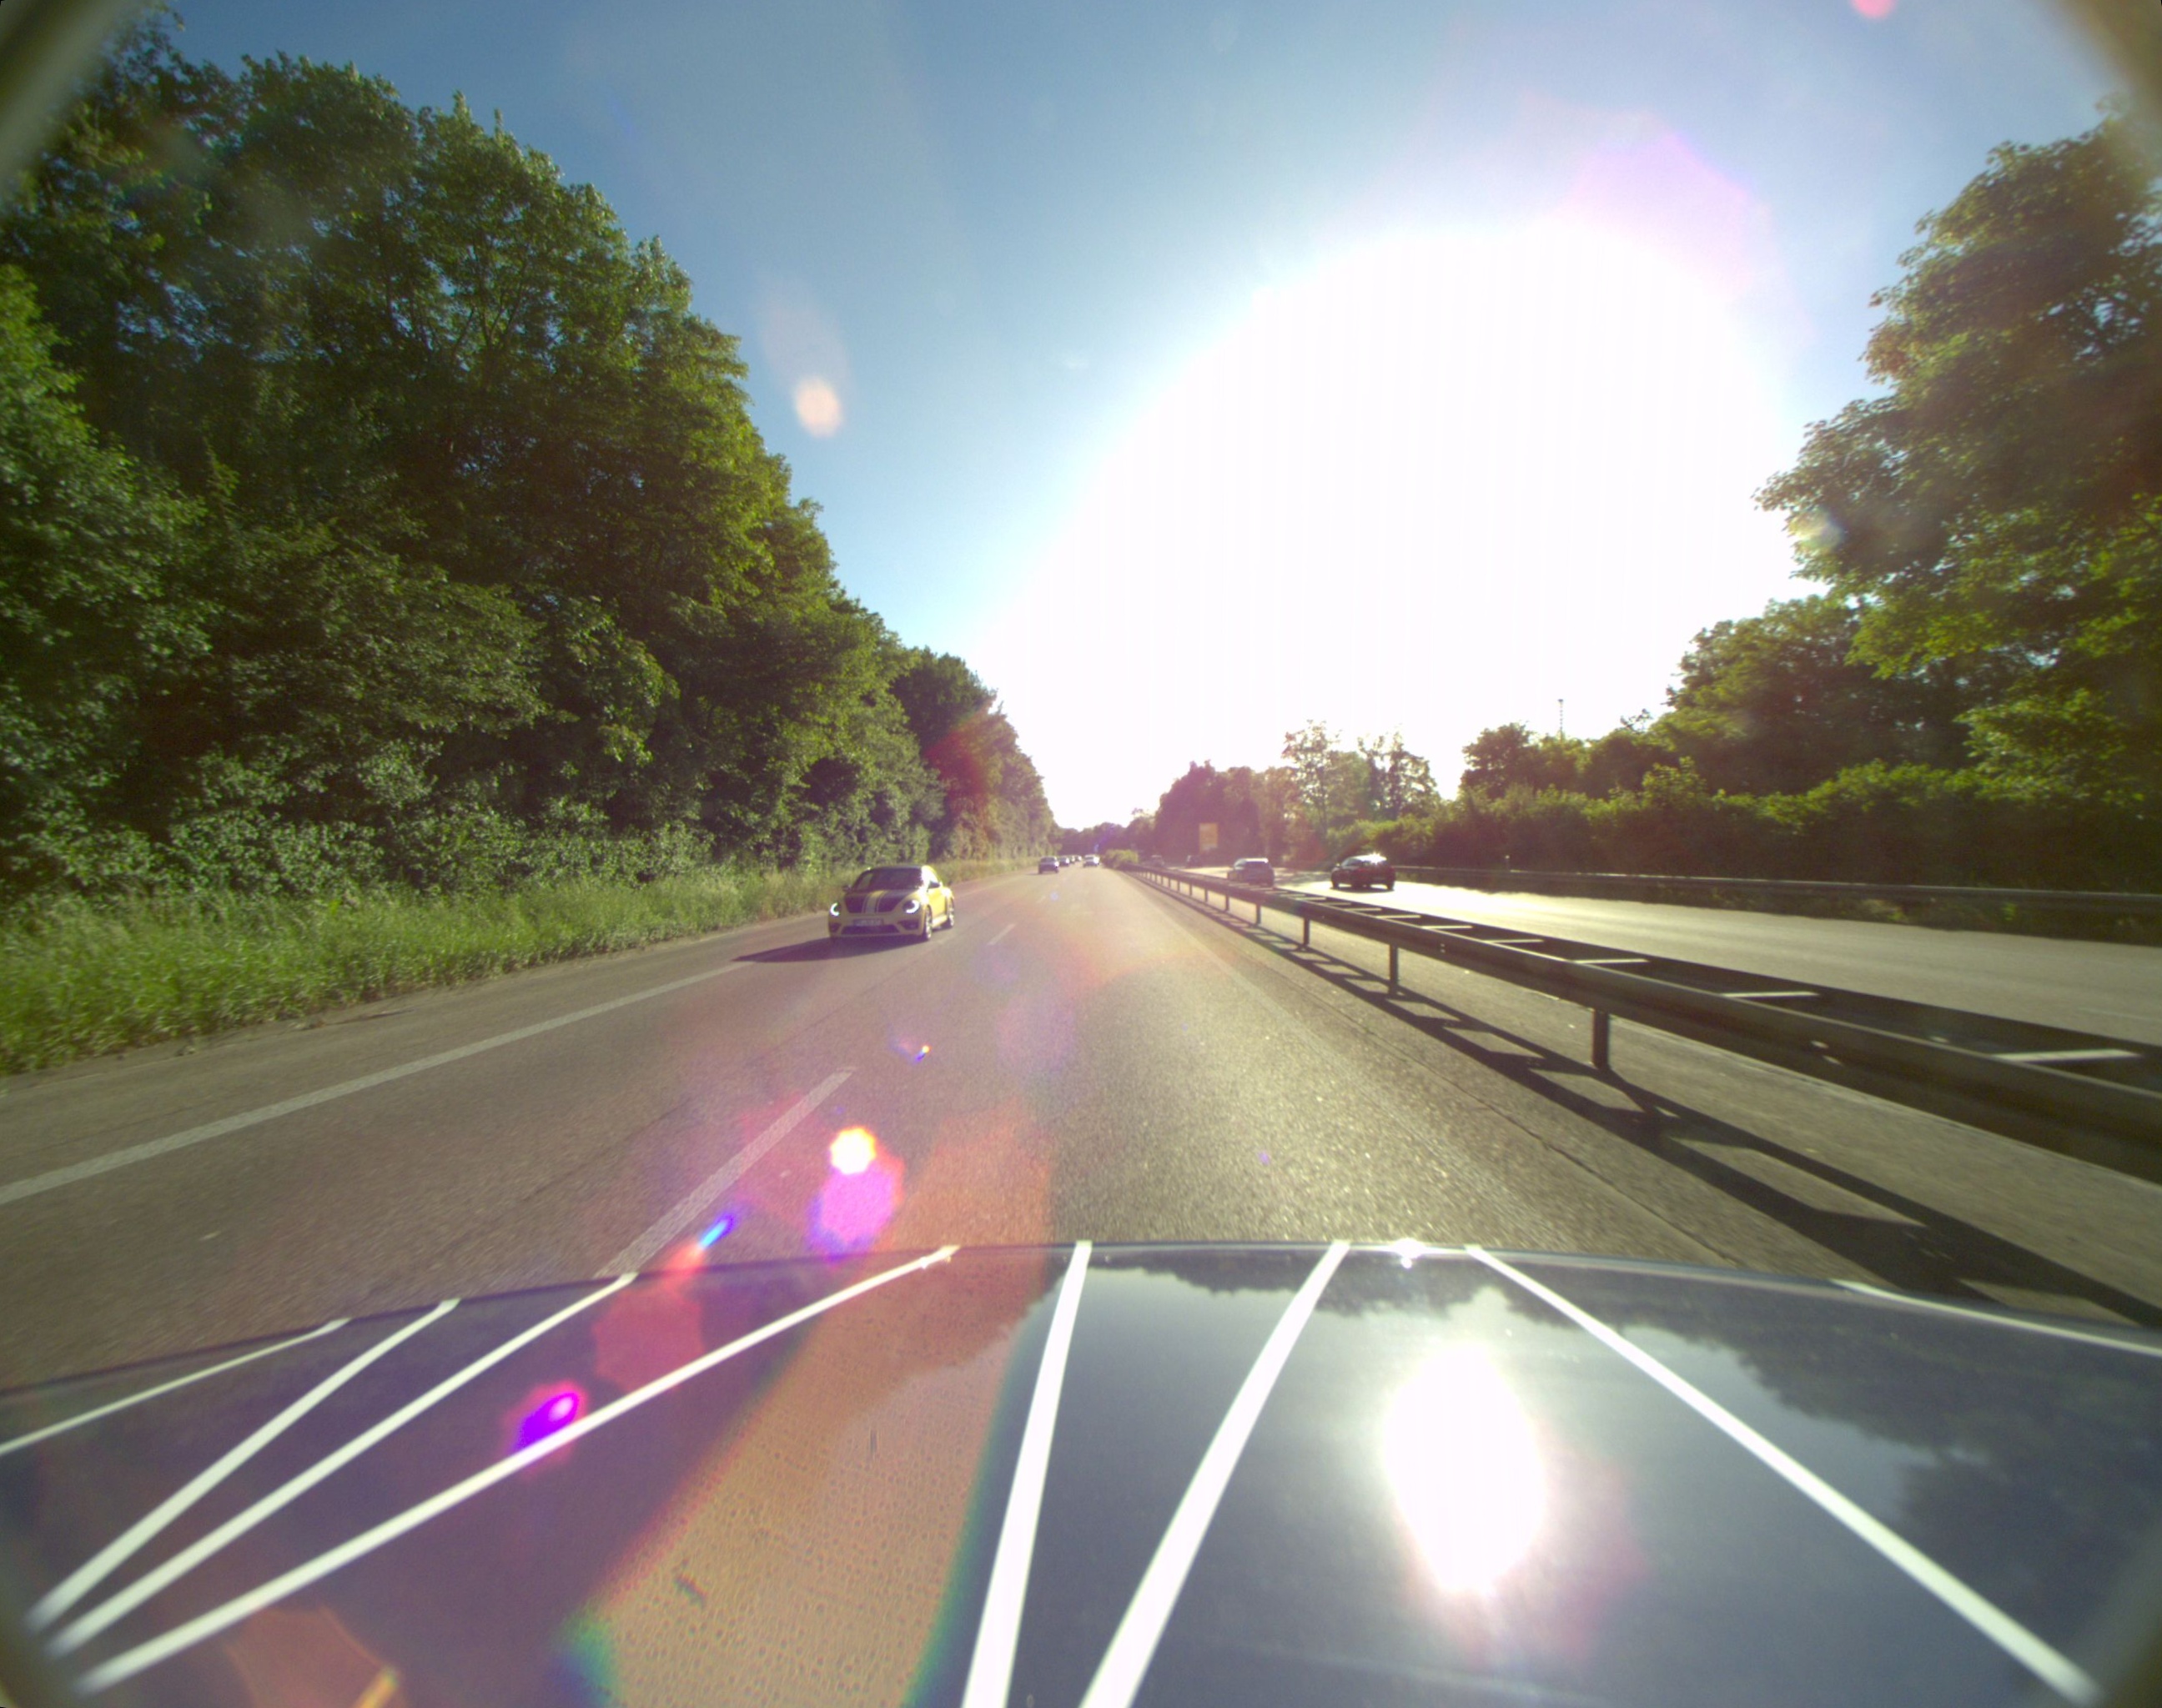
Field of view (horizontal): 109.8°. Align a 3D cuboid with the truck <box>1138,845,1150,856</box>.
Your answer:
[{"bbox_3d":[15.087,-0.914,182.576,2.167,2.570,6.943,-2,1,1],"label":"truck"}]

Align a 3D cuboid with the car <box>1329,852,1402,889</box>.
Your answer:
[{"bbox_3d":[12.822,0.697,34.472,1.752,1.418,4.135,-2,1,1],"label":"car"}]

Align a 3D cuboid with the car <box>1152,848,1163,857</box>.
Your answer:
[{"bbox_3d":[14.064,-0.250,139.571,1.642,1.541,3.793,-2,1,1],"label":"car"}]

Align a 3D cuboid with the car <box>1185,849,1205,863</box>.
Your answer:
[{"bbox_3d":[13.218,0.187,88.489,1.752,1.486,3.976,-2,1,1],"label":"car"}]

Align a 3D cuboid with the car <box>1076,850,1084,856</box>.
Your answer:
[{"bbox_3d":[-0.263,-0.152,191.152,1.794,1.440,3.877,-2,0,0],"label":"car"}]

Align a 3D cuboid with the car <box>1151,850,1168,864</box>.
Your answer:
[{"bbox_3d":[9.745,0.347,94.162,1.642,1.694,3.793,-2,1,1],"label":"car"}]

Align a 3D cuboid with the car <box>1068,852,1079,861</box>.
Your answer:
[{"bbox_3d":[-1.380,0.408,135.130,1.794,1.440,3.877,-2,0,0],"label":"car"}]

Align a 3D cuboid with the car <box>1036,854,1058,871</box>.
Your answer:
[{"bbox_3d":[-3.093,0.727,69.827,1.794,1.440,3.877,-2,0,0],"label":"car"}]

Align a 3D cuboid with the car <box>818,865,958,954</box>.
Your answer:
[{"bbox_3d":[-3.756,1.028,15.497,1.794,1.440,3.877,-2,0,0],"label":"car"}]

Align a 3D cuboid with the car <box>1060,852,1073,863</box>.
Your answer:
[{"bbox_3d":[-2.018,0.524,106.812,1.794,1.440,3.877,-2,0,0],"label":"car"}]

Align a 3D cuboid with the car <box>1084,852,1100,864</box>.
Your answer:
[{"bbox_3d":[1.347,0.476,95.379,1.890,1.440,3.878,-2,0,1],"label":"car"}]

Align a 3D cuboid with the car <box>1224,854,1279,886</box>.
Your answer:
[{"bbox_3d":[8.930,0.809,40.260,1.752,1.418,5.204,-2,1,1],"label":"car"}]
